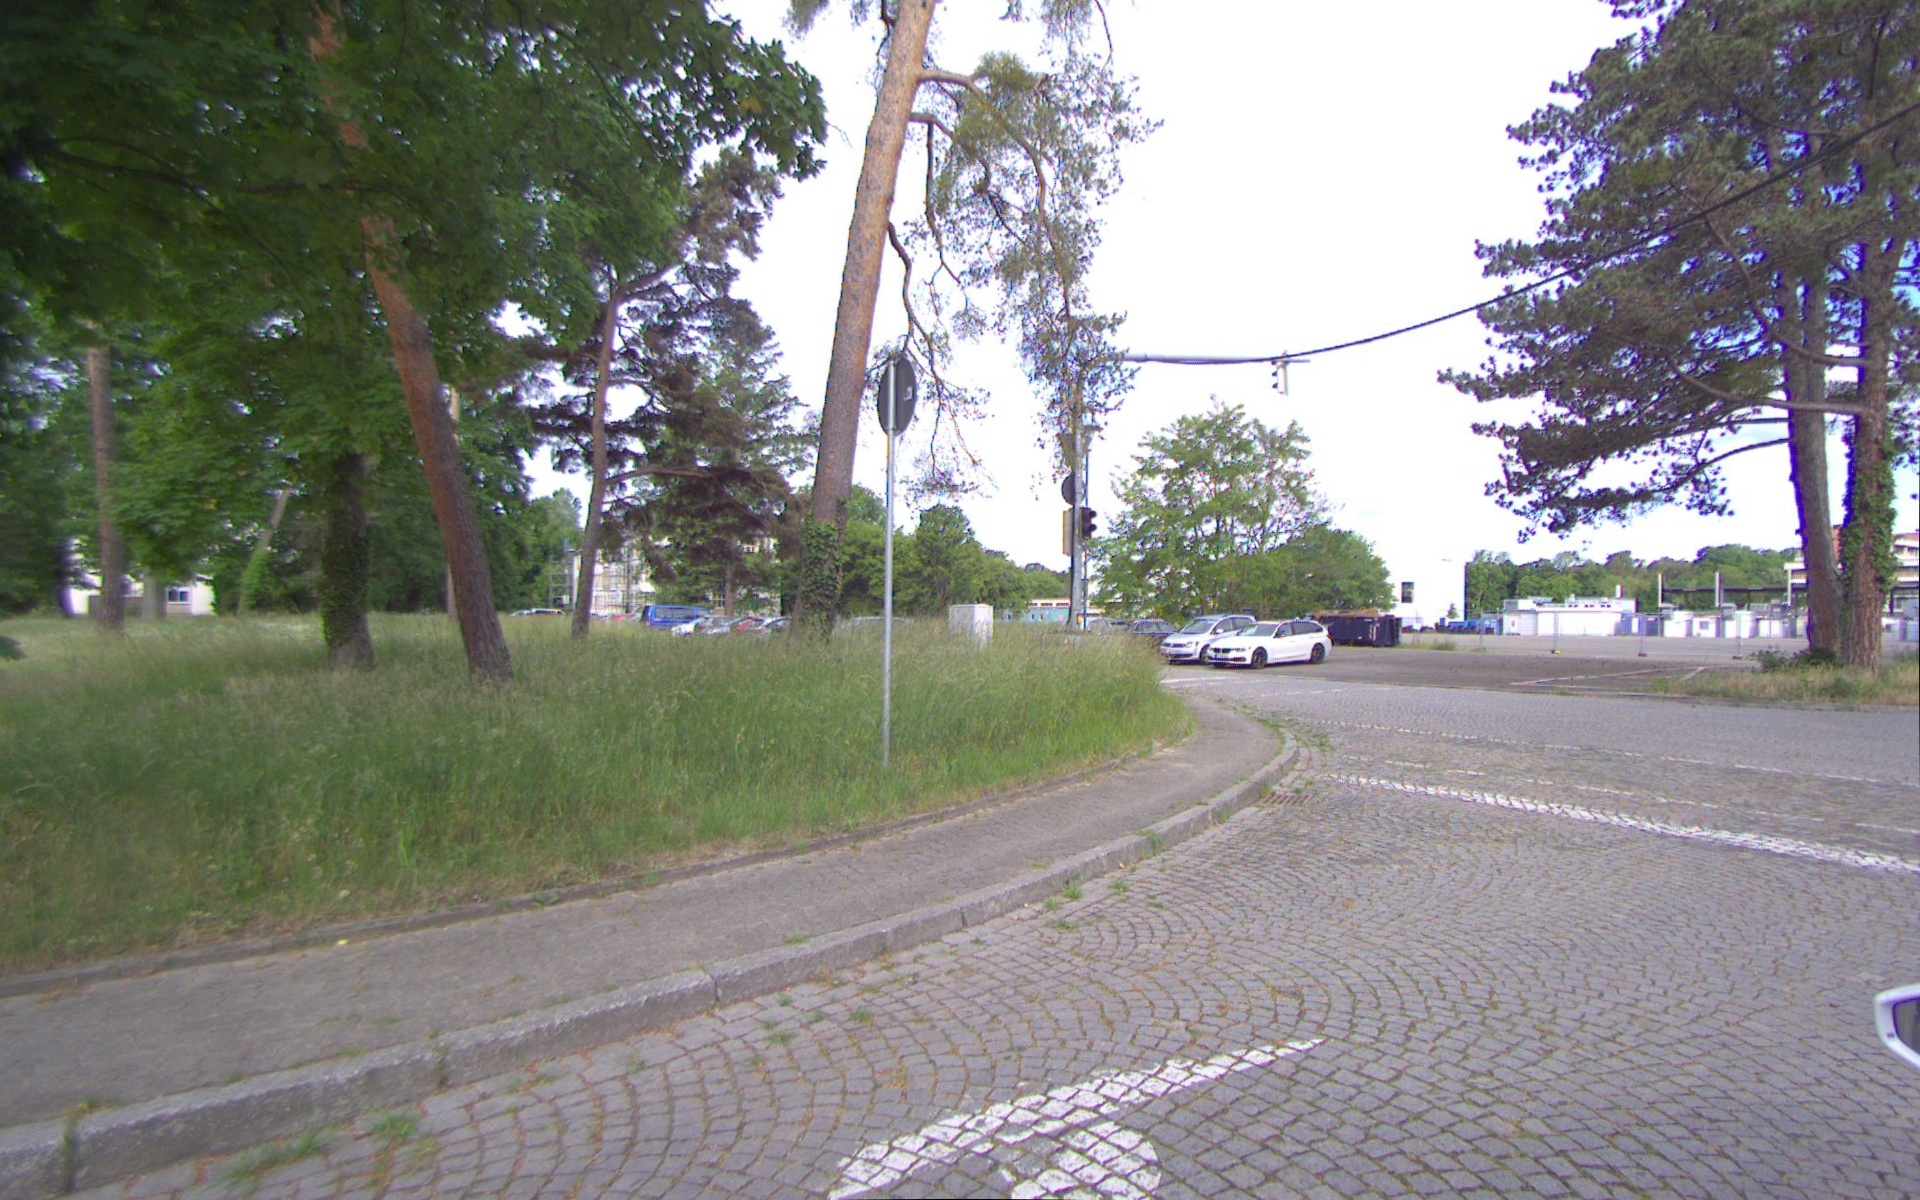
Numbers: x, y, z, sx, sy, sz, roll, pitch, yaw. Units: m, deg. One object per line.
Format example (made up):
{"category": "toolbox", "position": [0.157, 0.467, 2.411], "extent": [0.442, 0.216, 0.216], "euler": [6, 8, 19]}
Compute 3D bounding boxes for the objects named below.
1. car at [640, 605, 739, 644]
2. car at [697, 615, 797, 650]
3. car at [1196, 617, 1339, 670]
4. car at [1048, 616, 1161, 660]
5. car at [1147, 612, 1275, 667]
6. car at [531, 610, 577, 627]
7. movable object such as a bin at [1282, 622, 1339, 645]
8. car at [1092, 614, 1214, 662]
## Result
{"category": "car", "position": [-14.341, 1.280, 53.272], "extent": [4.737, 2.007, 1.982], "euler": [0, -1, -30]}
{"category": "car", "position": [-9.237, 1.418, 43.598], "extent": [3.952, 1.457, 1.678], "euler": [1, -1, -29]}
{"category": "car", "position": [9.898, 1.341, 32.180], "extent": [4.688, 1.461, 1.799], "euler": [-1, 0, -33]}
{"category": "car", "position": [5.616, 1.434, 38.836], "extent": [4.281, 1.587, 1.782], "euler": [1, -1, -34]}
{"category": "car", "position": [8.598, 1.300, 34.302], "extent": [4.280, 1.605, 1.810], "euler": [-2, 1, -34]}
{"category": "car", "position": [-50.771, 2.319, 125.697], "extent": [5.103, 2.040, 1.984], "euler": [1, -1, -31]}
{"category": "movable object such as a bin", "position": [16.152, 1.534, 46.270], "extent": [2.632, 1.062, 1.170], "euler": [1, -1, -35]}
{"category": "car", "position": [7.054, 1.333, 36.588], "extent": [4.280, 1.522, 1.844], "euler": [-2, 1, -34]}
